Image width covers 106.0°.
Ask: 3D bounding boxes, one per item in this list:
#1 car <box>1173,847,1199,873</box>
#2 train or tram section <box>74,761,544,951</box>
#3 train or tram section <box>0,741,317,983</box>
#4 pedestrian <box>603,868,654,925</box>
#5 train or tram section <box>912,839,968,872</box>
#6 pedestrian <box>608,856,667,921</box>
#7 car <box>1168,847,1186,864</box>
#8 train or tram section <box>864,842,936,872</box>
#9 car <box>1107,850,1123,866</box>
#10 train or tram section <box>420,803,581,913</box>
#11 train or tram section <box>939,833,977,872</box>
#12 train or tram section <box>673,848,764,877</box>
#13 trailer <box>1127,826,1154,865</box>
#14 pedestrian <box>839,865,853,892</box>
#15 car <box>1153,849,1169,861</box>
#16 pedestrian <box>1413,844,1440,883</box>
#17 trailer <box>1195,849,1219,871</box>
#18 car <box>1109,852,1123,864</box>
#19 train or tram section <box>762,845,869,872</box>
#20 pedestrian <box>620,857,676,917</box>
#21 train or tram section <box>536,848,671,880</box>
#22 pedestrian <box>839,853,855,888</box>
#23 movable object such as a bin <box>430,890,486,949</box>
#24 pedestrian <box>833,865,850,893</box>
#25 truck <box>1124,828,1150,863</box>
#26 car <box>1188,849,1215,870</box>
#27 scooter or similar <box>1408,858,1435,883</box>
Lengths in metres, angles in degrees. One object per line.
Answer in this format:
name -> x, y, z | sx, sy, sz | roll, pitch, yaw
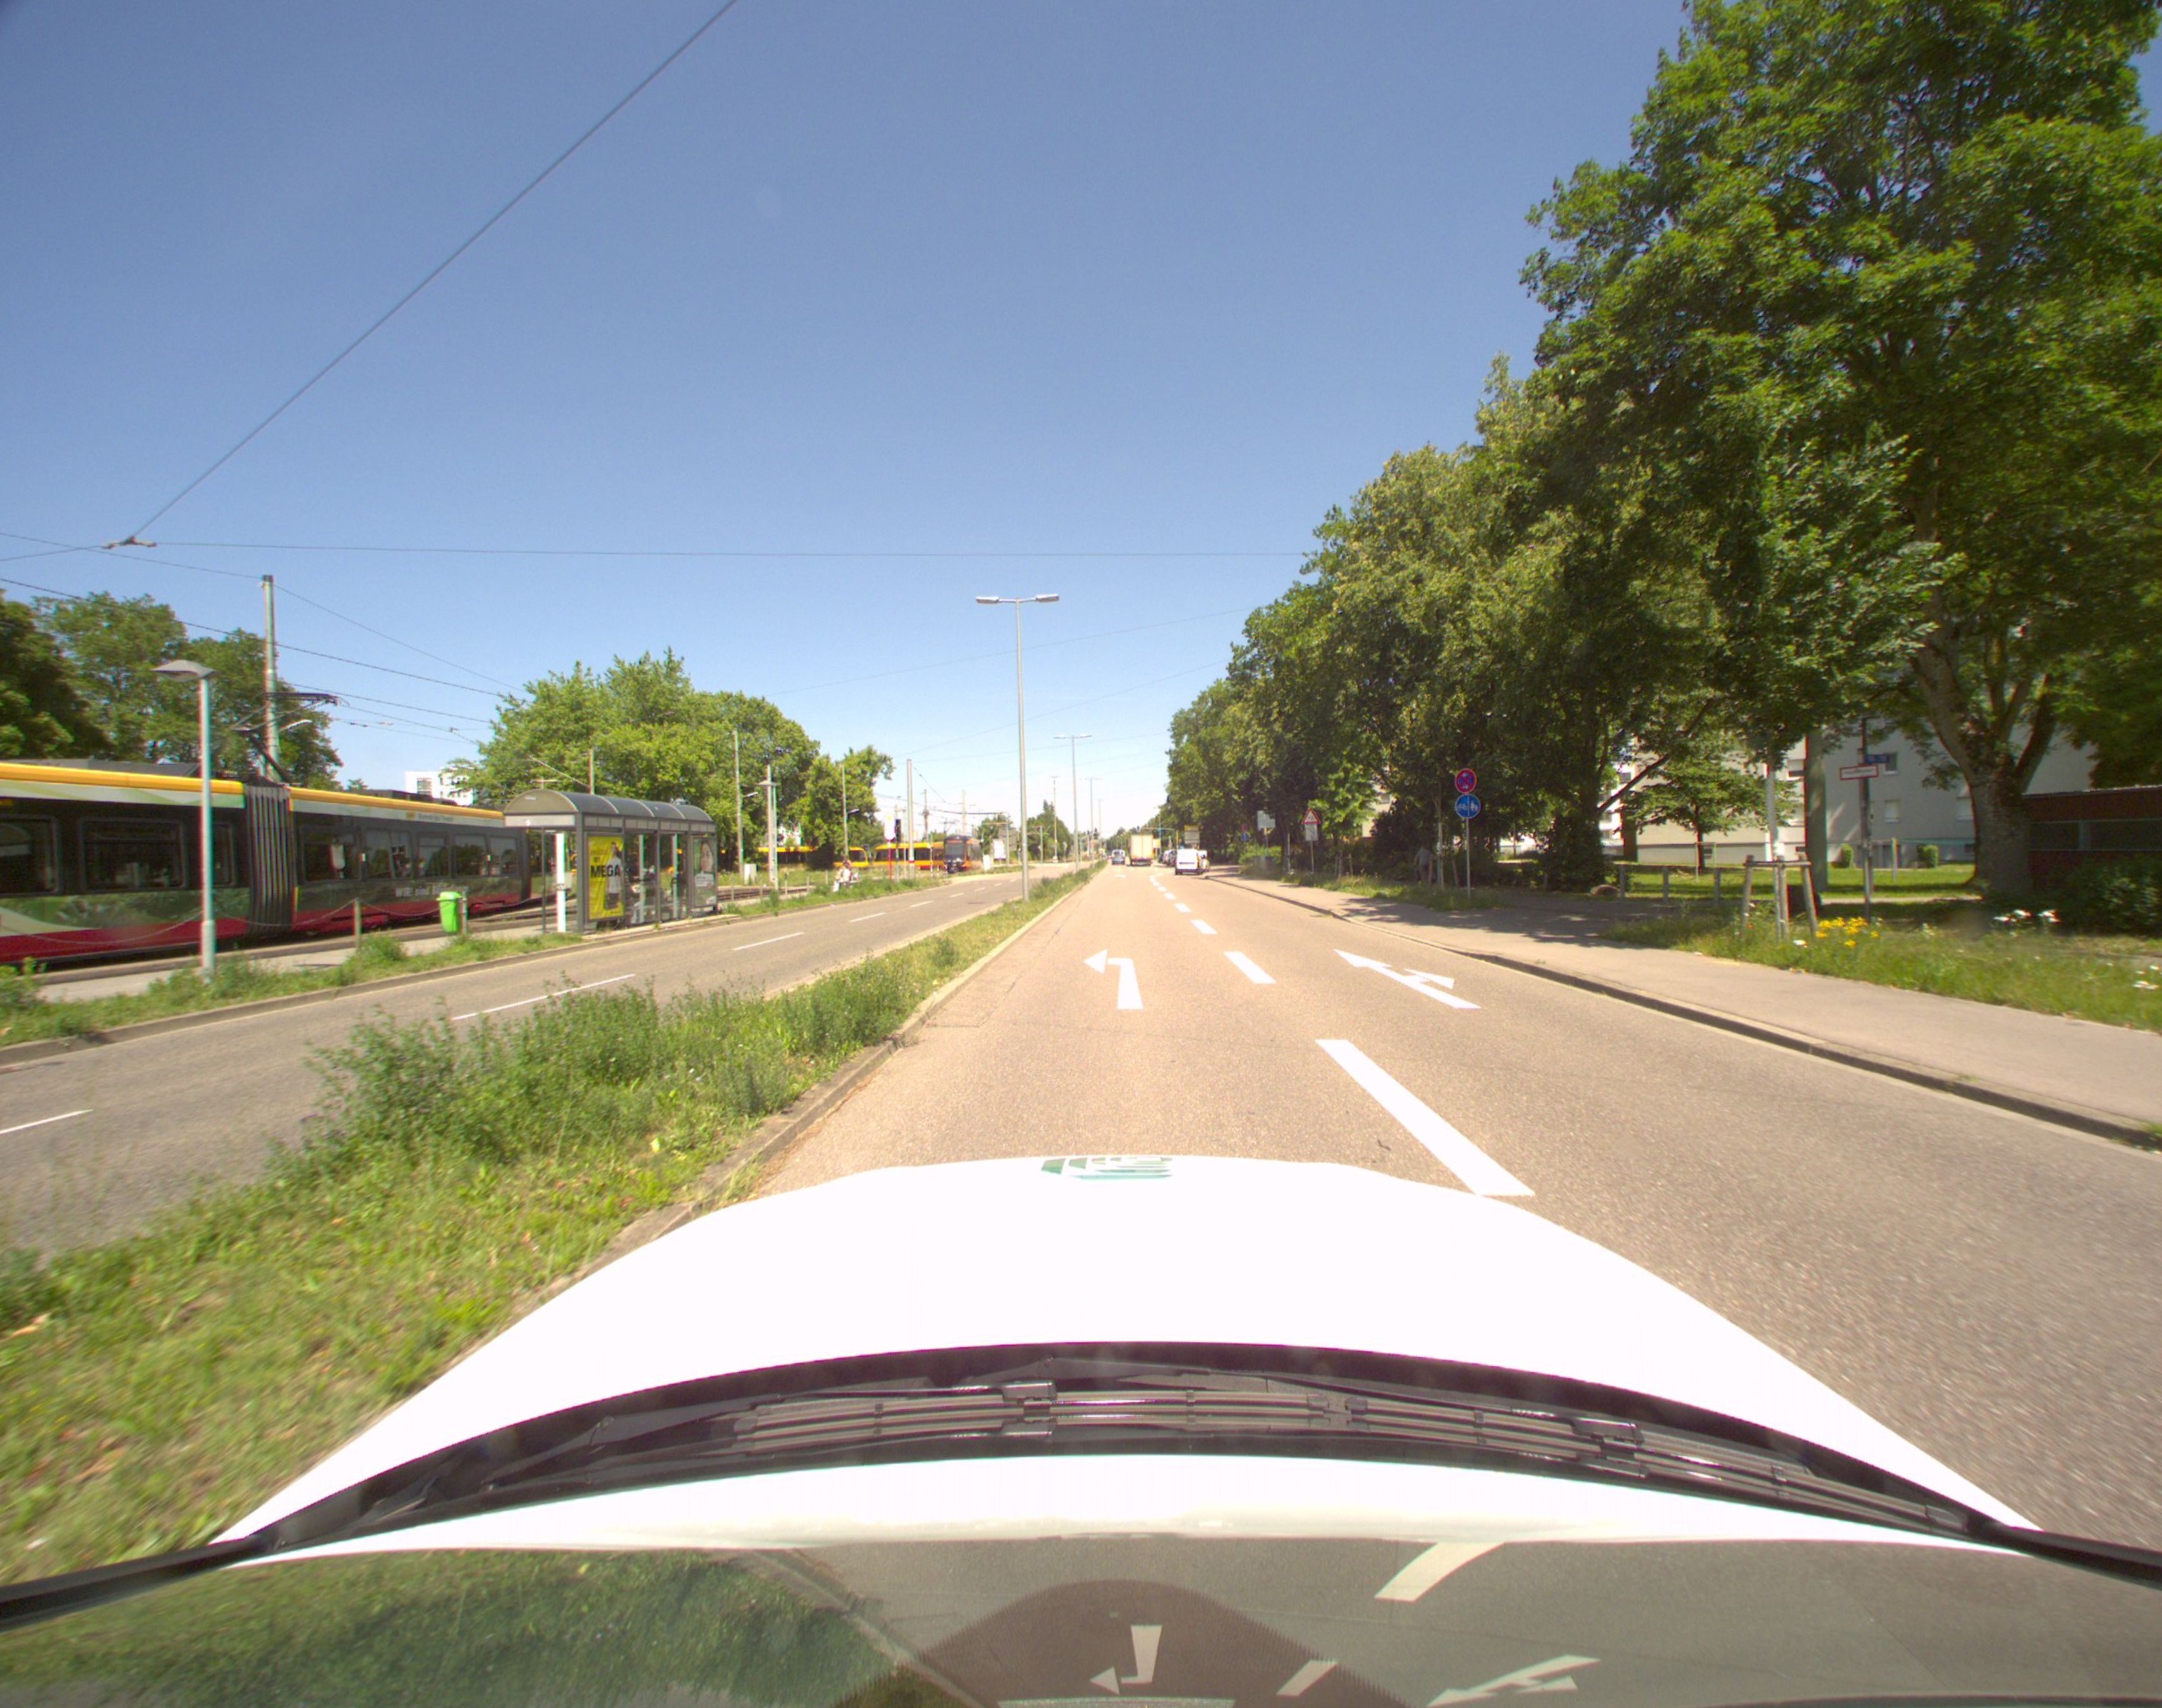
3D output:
car -> 7.309, 0.395, 56.948 | 1.701, 1.747, 4.434 | 0, 0, 6
train or tram section -> -18.917, 0.002, 21.914 | 3.045, 3.624, 12.402 | 0, 0, -12
train or tram section -> -17.755, 0.126, 10.260 | 3.033, 3.624, 13.899 | 0, 0, 1
pedestrian -> -10.583, 0.989, 19.071 | 0.698, 1.283, 0.840 | 0, 0, 0
train or tram section -> -15.810, 0.176, 90.460 | 3.054, 3.466, 10.130 | 0, 0, -28
pedestrian -> -10.920, 0.825, 20.072 | 0.871, 1.546, 1.026 | 0, 0, 0
car -> 12.195, 0.138, 103.382 | 1.884, 2.121, 3.888 | 0, 0, 1
train or tram section -> -22.349, 0.303, 99.748 | 3.062, 3.466, 12.599 | 0, 0, -41
car -> 4.904, 0.505, 116.533 | 1.988, 2.111, 4.746 | -1, 1, -1
train or tram section -> -22.898, 0.097, 32.992 | 3.058, 3.624, 12.350 | 0, 0, -25
train or tram section -> -11.786, -0.129, 79.191 | 3.032, 3.466, 13.265 | 0, 0, -6
train or tram section -> -45.237, 1.035, 102.052 | 10.229, 3.466, 3.024 | 0, 0, -22
trailer -> 7.161, -1.003, 98.443 | 2.817, 4.421, 8.751 | 0, 0, 1
pedestrian -> -10.418, 1.098, 36.063 | 0.492, 1.189, 0.400 | 0, 0, 0
car -> 11.097, 0.124, 113.044 | 1.986, 1.437, 4.254 | -1, 1, 2
pedestrian -> 12.442, 0.344, 29.330 | 0.705, 1.398, 0.763 | 0, 0, 3
trailer -> 9.681, 0.454, 62.637 | 1.463, 1.669, 2.857 | 0, 0, 1
car -> 4.718, 0.546, 109.566 | 1.885, 1.372, 4.431 | 1, -1, 2
train or tram section -> -33.880, 0.546, 104.272 | 12.684, 3.466, 3.042 | 0, 0, -4
pedestrian -> -11.386, 0.846, 21.437 | 0.927, 1.546, 0.985 | 0, 0, 0
train or tram section -> -55.503, 1.068, 95.245 | 3.008, 3.466, 13.345 | 0, 0, 43
pedestrian -> -10.634, 0.736, 37.014 | 0.533, 1.565, 0.583 | 0, 0, 1
movable object such as a bin -> -11.023, 1.155, 14.419 | 0.480, 0.978, 0.644 | -1, 0, -2
pedestrian -> -10.475, 1.084, 35.574 | 0.578, 1.189, 0.536 | 0, 0, 1
truck -> 7.300, -1.108, 107.007 | 2.817, 4.344, 8.285 | 1, 1, 0
car -> 9.769, 0.445, 66.270 | 1.693, 1.654, 4.400 | 0, 0, 1
scooter or similar -> 12.481, 0.594, 29.864 | 0.705, 0.893, 0.763 | 0, 0, 3
